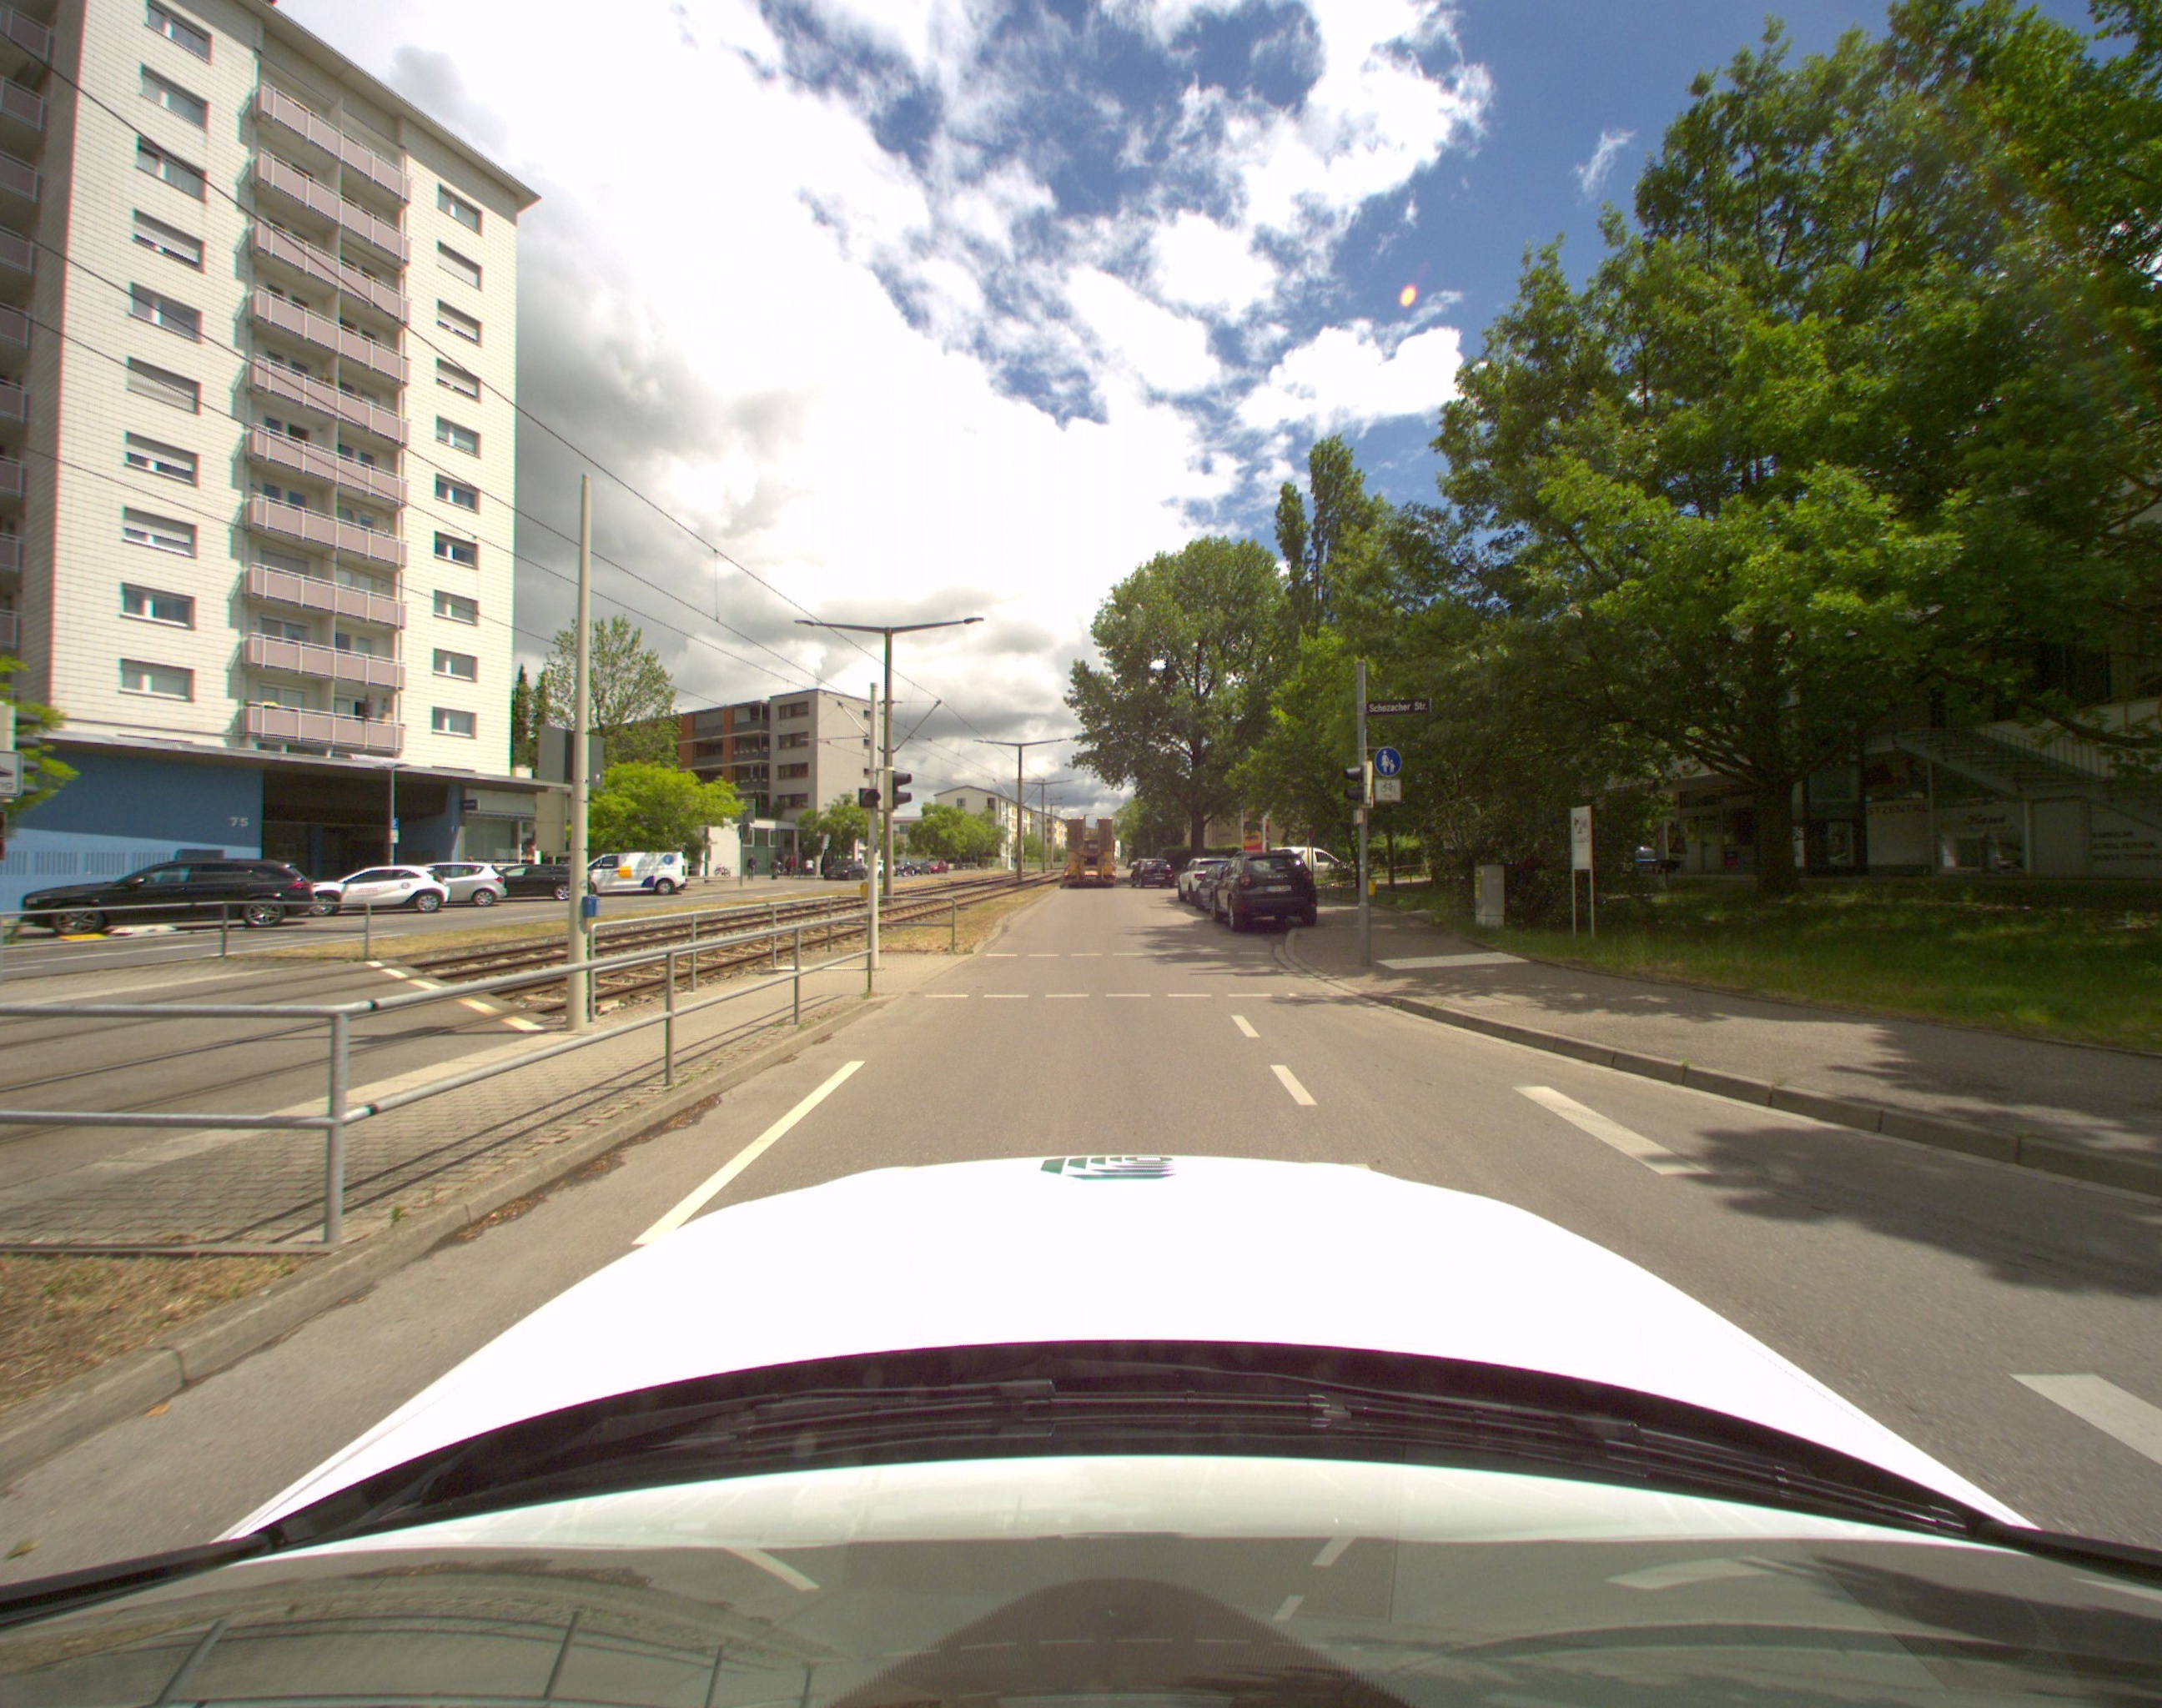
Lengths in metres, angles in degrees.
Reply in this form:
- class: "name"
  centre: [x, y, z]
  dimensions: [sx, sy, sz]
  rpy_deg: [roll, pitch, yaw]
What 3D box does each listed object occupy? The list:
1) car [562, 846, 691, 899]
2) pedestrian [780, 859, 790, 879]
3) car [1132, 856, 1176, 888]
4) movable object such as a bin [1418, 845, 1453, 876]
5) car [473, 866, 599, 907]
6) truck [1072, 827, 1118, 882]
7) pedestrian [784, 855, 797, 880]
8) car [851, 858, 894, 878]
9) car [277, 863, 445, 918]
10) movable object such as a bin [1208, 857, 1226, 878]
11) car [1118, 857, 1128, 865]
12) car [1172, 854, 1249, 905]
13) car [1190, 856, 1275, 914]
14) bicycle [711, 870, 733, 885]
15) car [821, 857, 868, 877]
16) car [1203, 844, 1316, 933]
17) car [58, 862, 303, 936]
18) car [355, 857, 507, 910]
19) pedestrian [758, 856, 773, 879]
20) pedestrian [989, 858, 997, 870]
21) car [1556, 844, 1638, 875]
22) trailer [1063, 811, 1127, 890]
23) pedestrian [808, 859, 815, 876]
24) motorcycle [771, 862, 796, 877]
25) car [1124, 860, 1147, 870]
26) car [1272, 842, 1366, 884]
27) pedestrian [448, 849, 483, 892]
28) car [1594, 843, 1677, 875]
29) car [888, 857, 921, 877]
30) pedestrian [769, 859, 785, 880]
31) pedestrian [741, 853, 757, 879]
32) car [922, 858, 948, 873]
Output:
- class: "car"
  centre: [-20.432, 0.776, 36.717]
  dimensions: [4.785, 2.156, 1.884]
  rpy_deg: [-2, 0, -38]
- class: "pedestrian"
  centre: [-23.163, 1.159, 63.748]
  dimensions: [0.666, 1.573, 0.683]
  rpy_deg: [-1, 0, -24]
- class: "car"
  centre: [3.607, 0.869, 40.884]
  dimensions: [1.809, 1.449, 3.825]
  rpy_deg: [-2, 0, -1]
- class: "movable object such as a bin"
  centre: [16.839, 0.318, 38.726]
  dimensions: [1.111, 1.430, 1.286]
  rpy_deg: [-2, 0, 0]
- class: "car"
  centre: [-21.789, 1.255, 32.608]
  dimensions: [4.020, 1.383, 1.884]
  rpy_deg: [-2, 0, -38]
- class: "truck"
  centre: [0.962, 0.015, 54.856]
  dimensions: [2.823, 3.330, 7.986]
  rpy_deg: [-2, 0, 1]
- class: "pedestrian"
  centre: [-21.887, 1.007, 61.366]
  dimensions: [0.608, 1.792, 0.844]
  rpy_deg: [-2, 0, 3]
- class: "car"
  centre: [-17.047, 1.148, 66.816]
  dimensions: [1.744, 1.475, 4.411]
  rpy_deg: [-2, 0, 9]
- class: "car"
  centre: [-22.473, 1.092, 25.639]
  dimensions: [3.783, 1.496, 1.728]
  rpy_deg: [-2, 0, -37]
- class: "movable object such as a bin"
  centre: [9.452, 0.938, 56.492]
  dimensions: [1.094, 1.439, 0.761]
  rpy_deg: [-2, 0, 1]
- class: "car"
  centre: [8.007, 1.264, 155.118]
  dimensions: [1.985, 1.387, 4.003]
  rpy_deg: [-2, 0, 3]
- class: "car"
  centre: [4.350, 0.801, 28.061]
  dimensions: [1.779, 1.565, 4.566]
  rpy_deg: [-2, 0, -2]
- class: "car"
  centre: [4.228, 0.804, 23.313]
  dimensions: [1.639, 1.458, 4.074]
  rpy_deg: [-2, 0, -1]
- class: "bicycle"
  centre: [-29.022, 1.891, 65.884]
  dimensions: [1.948, 1.212, 0.673]
  rpy_deg: [-2, 0, 34]
- class: "car"
  centre: [-17.389, 0.926, 60.025]
  dimensions: [1.726, 1.428, 4.387]
  rpy_deg: [1, 0, 6]
- class: "car"
  centre: [3.962, 0.692, 18.815]
  dimensions: [1.638, 1.762, 4.570]
  rpy_deg: [-2, 0, 1]
- class: "car"
  centre: [-22.701, 1.071, 20.808]
  dimensions: [4.023, 1.591, 1.909]
  rpy_deg: [-2, 0, -44]
- class: "car"
  centre: [-22.694, 0.984, 28.517]
  dimensions: [4.022, 1.632, 1.883]
  rpy_deg: [-2, 0, -43]
- class: "pedestrian"
  centre: [-23.165, 1.002, 59.756]
  dimensions: [0.835, 1.650, 0.615]
  rpy_deg: [0, 0, 13]
- class: "pedestrian"
  centre: [-11.984, 1.343, 110.926]
  dimensions: [0.745, 1.661, 0.871]
  rpy_deg: [-2, 0, 7]
- class: "car"
  centre: [26.035, 0.249, 41.219]
  dimensions: [1.736, 1.470, 4.003]
  rpy_deg: [-1, 0, 2]
- class: "trailer"
  centre: [0.827, -0.173, 45.523]
  dimensions: [3.040, 3.772, 11.615]
  rpy_deg: [-2, 0, 1]
- class: "pedestrian"
  centre: [-23.238, 1.177, 70.291]
  dimensions: [0.500, 1.460, 0.556]
  rpy_deg: [-1, 0, -24]
- class: "motorcycle"
  centre: [-25.888, 1.349, 70.874]
  dimensions: [1.885, 1.178, 0.741]
  rpy_deg: [-2, 0, 0]
- class: "car"
  centre: [9.112, 1.785, 136.267]
  dimensions: [3.571, 1.584, 2.008]
  rpy_deg: [-2, -1, 15]
- class: "car"
  centre: [11.312, 0.395, 38.733]
  dimensions: [4.001, 1.823, 1.798]
  rpy_deg: [-2, 0, -21]
- class: "pedestrian"
  centre: [-26.407, 0.699, 34.969]
  dimensions: [0.762, 1.821, 0.895]
  rpy_deg: [-2, -1, 16]
- class: "car"
  centre: [28.822, 0.235, 42.501]
  dimensions: [1.736, 1.529, 4.003]
  rpy_deg: [-1, 0, 2]
- class: "car"
  centre: [-15.919, 1.159, 73.484]
  dimensions: [1.986, 1.662, 4.101]
  rpy_deg: [0, 0, 1]
- class: "pedestrian"
  centre: [-22.308, 1.120, 59.757]
  dimensions: [0.596, 1.534, 0.977]
  rpy_deg: [-2, 0, 16]
- class: "pedestrian"
  centre: [-22.985, 0.832, 56.390]
  dimensions: [0.847, 1.792, 0.864]
  rpy_deg: [-1, 0, -35]
- class: "car"
  centre: [-15.416, 1.228, 86.072]
  dimensions: [1.603, 1.426, 3.432]
  rpy_deg: [-2, 0, 10]
